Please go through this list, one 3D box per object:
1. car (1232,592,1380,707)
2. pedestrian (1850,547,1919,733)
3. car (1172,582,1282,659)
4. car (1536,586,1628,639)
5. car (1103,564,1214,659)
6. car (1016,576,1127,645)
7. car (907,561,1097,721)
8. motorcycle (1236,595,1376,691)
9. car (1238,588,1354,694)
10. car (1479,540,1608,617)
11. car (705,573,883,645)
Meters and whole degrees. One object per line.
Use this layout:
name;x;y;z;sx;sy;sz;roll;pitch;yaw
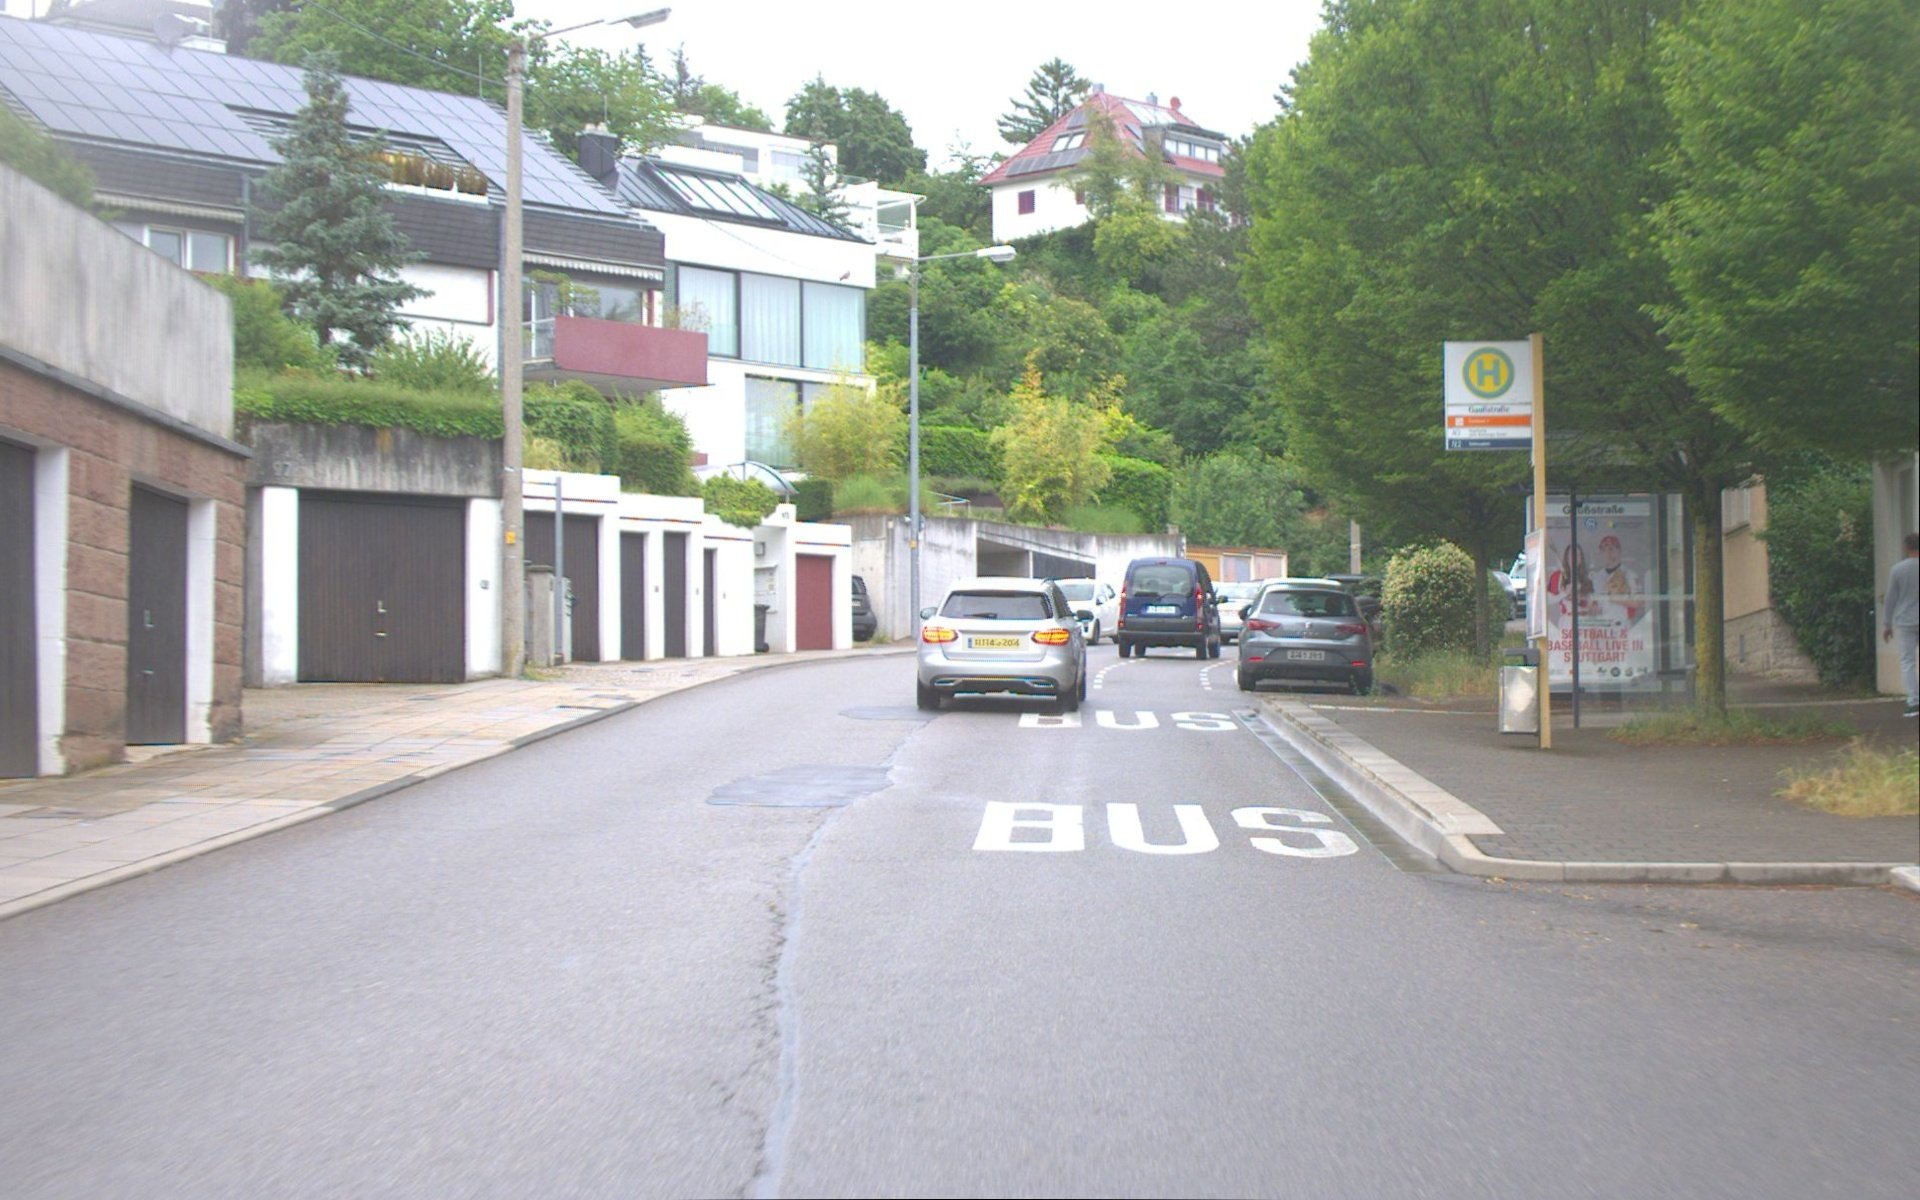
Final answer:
car;4.647;0.627;46.560;1.878;1.412;4.467;1;1;5
pedestrian;8.861;0.351;32.044;0.832;1.680;1.044;-3;0;4
car;6.119;0.446;78.419;1.994;1.702;3.998;0;0;12
car;18.076;0.347;99.804;1.671;1.466;3.705;2;1;26
car;3.663;0.192;63.974;1.994;1.702;4.000;0;0;2
car;2.565;0.218;78.551;1.628;1.510;3.829;0;0;16
car;0.418;0.432;39.002;2.025;1.702;4.216;0;0;-1
motorcycle;5.006;0.618;49.803;1.913;1.325;0.787;2;1;1
car;5.162;0.596;52.632;1.657;1.484;3.999;2;1;6
car;20.219;-0.768;118.969;2.098;2.541;6.085;-1;1;33
car;-3.749;0.182;77.229;3.929;1.473;1.763;2;2;44
